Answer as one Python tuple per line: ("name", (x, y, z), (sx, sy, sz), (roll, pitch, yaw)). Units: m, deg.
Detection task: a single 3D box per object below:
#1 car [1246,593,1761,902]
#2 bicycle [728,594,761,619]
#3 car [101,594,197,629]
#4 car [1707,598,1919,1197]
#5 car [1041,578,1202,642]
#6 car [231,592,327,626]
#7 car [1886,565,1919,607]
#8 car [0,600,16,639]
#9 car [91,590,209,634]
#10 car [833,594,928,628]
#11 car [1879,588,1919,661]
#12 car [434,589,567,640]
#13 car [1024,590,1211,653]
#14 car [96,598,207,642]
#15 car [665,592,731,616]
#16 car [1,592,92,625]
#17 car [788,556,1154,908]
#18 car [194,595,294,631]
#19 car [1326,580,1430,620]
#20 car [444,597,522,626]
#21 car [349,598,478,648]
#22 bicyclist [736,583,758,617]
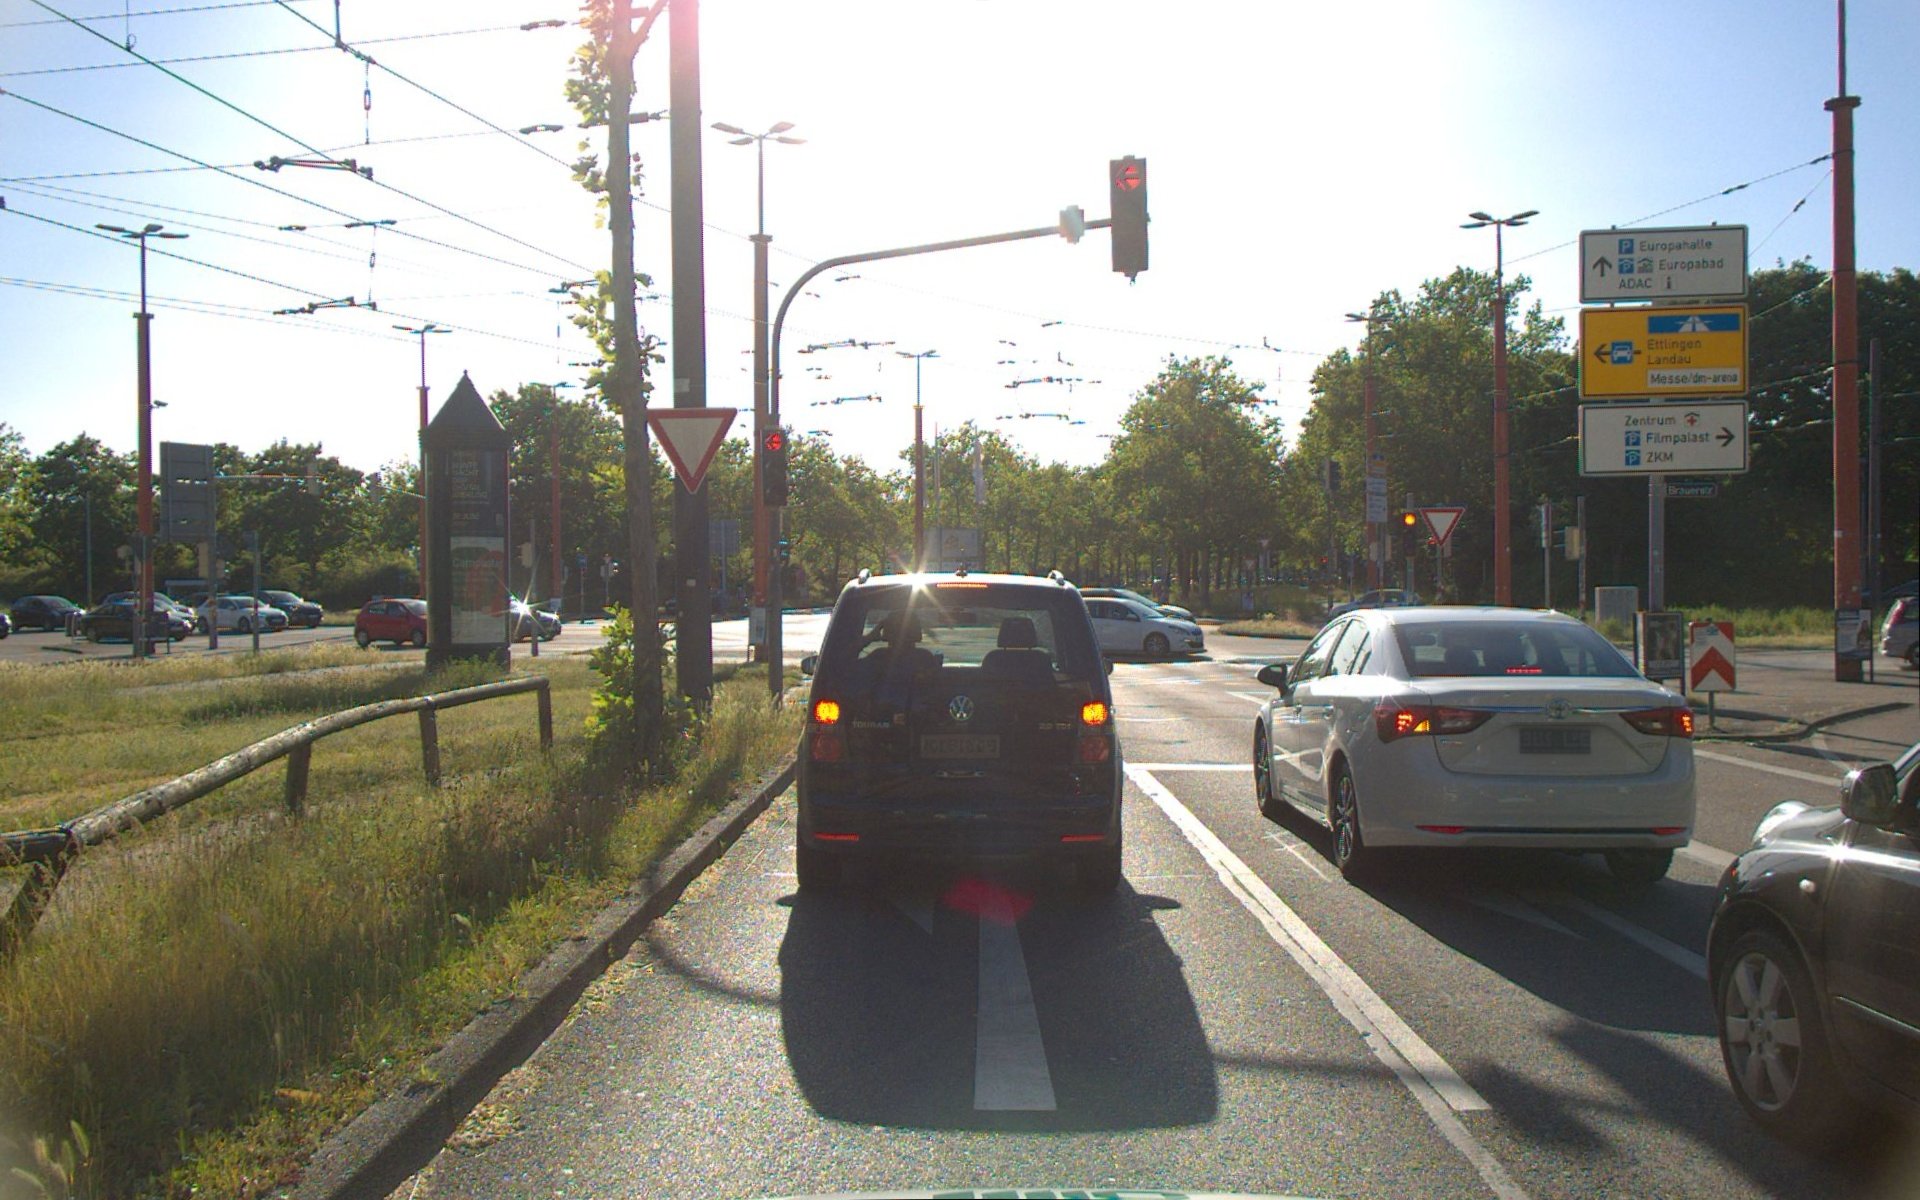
("car", (3.012, 0.725, 10.186), (1.762, 1.465, 4.326), (1, 0, 0))
("bicycle", (-12.258, 0.372, 94.166), (0.955, 1.413, 2.982), (0, 0, 12))
("car", (-34.638, 0.455, 70.634), (4.060, 1.440, 1.542), (0, 0, 26))
("car", (3.133, 0.739, 3.490), (1.544, 1.465, 3.441), (1, 0, 0))
("car", (4.517, 0.255, 46.486), (4.248, 1.721, 1.653), (0, 0, 32))
("car", (-29.474, 0.366, 71.549), (4.060, 1.440, 1.542), (0, 0, 26))
("car", (33.937, -0.467, 56.595), (3.713, 1.427, 1.657), (0, 0, 20))
("car", (-39.641, 0.749, 65.951), (4.107, 1.546, 1.654), (0, 0, 30))
("car", (-32.365, 0.469, 66.097), (4.535, 1.676, 1.755), (0, 0, 24))
("car", (-3.622, 0.484, 75.353), (4.050, 1.537, 1.657), (0, 0, 21))
("car", (20.868, 0.497, 33.603), (3.755, 1.466, 1.655), (0, 0, 27))
("car", (-15.923, 0.480, 57.265), (4.541, 1.676, 1.753), (0, 0, 30))
("car", (4.036, 0.526, 42.575), (4.532, 1.546, 1.655), (0, 0, 26))
("car", (-29.875, 0.725, 61.082), (4.107, 1.546, 1.654), (0, 0, 30))
("car", (-16.055, 0.239, 101.634), (1.626, 1.483, 3.905), (0, 0, 40))
("car", (-40.877, 0.360, 73.994), (4.060, 1.440, 1.542), (0, 0, 26))
("car", (0.064, 0.632, 9.964), (1.703, 1.630, 4.326), (1, 0, 0))
("car", (-29.410, 0.525, 67.927), (4.060, 1.440, 1.542), (0, 0, 26))
("car", (16.602, -0.001, 65.706), (3.718, 1.537, 1.654), (0, 0, 28))
("car", (-25.171, 0.585, 87.231), (3.837, 1.483, 1.655), (0, 0, 26))
("car", (-17.837, 0.725, 53.954), (4.107, 1.546, 1.654), (0, 0, 29))
("bicyclist", (-12.183, -0.022, 94.536), (0.955, 1.937, 1.051), (0, 0, 12))
